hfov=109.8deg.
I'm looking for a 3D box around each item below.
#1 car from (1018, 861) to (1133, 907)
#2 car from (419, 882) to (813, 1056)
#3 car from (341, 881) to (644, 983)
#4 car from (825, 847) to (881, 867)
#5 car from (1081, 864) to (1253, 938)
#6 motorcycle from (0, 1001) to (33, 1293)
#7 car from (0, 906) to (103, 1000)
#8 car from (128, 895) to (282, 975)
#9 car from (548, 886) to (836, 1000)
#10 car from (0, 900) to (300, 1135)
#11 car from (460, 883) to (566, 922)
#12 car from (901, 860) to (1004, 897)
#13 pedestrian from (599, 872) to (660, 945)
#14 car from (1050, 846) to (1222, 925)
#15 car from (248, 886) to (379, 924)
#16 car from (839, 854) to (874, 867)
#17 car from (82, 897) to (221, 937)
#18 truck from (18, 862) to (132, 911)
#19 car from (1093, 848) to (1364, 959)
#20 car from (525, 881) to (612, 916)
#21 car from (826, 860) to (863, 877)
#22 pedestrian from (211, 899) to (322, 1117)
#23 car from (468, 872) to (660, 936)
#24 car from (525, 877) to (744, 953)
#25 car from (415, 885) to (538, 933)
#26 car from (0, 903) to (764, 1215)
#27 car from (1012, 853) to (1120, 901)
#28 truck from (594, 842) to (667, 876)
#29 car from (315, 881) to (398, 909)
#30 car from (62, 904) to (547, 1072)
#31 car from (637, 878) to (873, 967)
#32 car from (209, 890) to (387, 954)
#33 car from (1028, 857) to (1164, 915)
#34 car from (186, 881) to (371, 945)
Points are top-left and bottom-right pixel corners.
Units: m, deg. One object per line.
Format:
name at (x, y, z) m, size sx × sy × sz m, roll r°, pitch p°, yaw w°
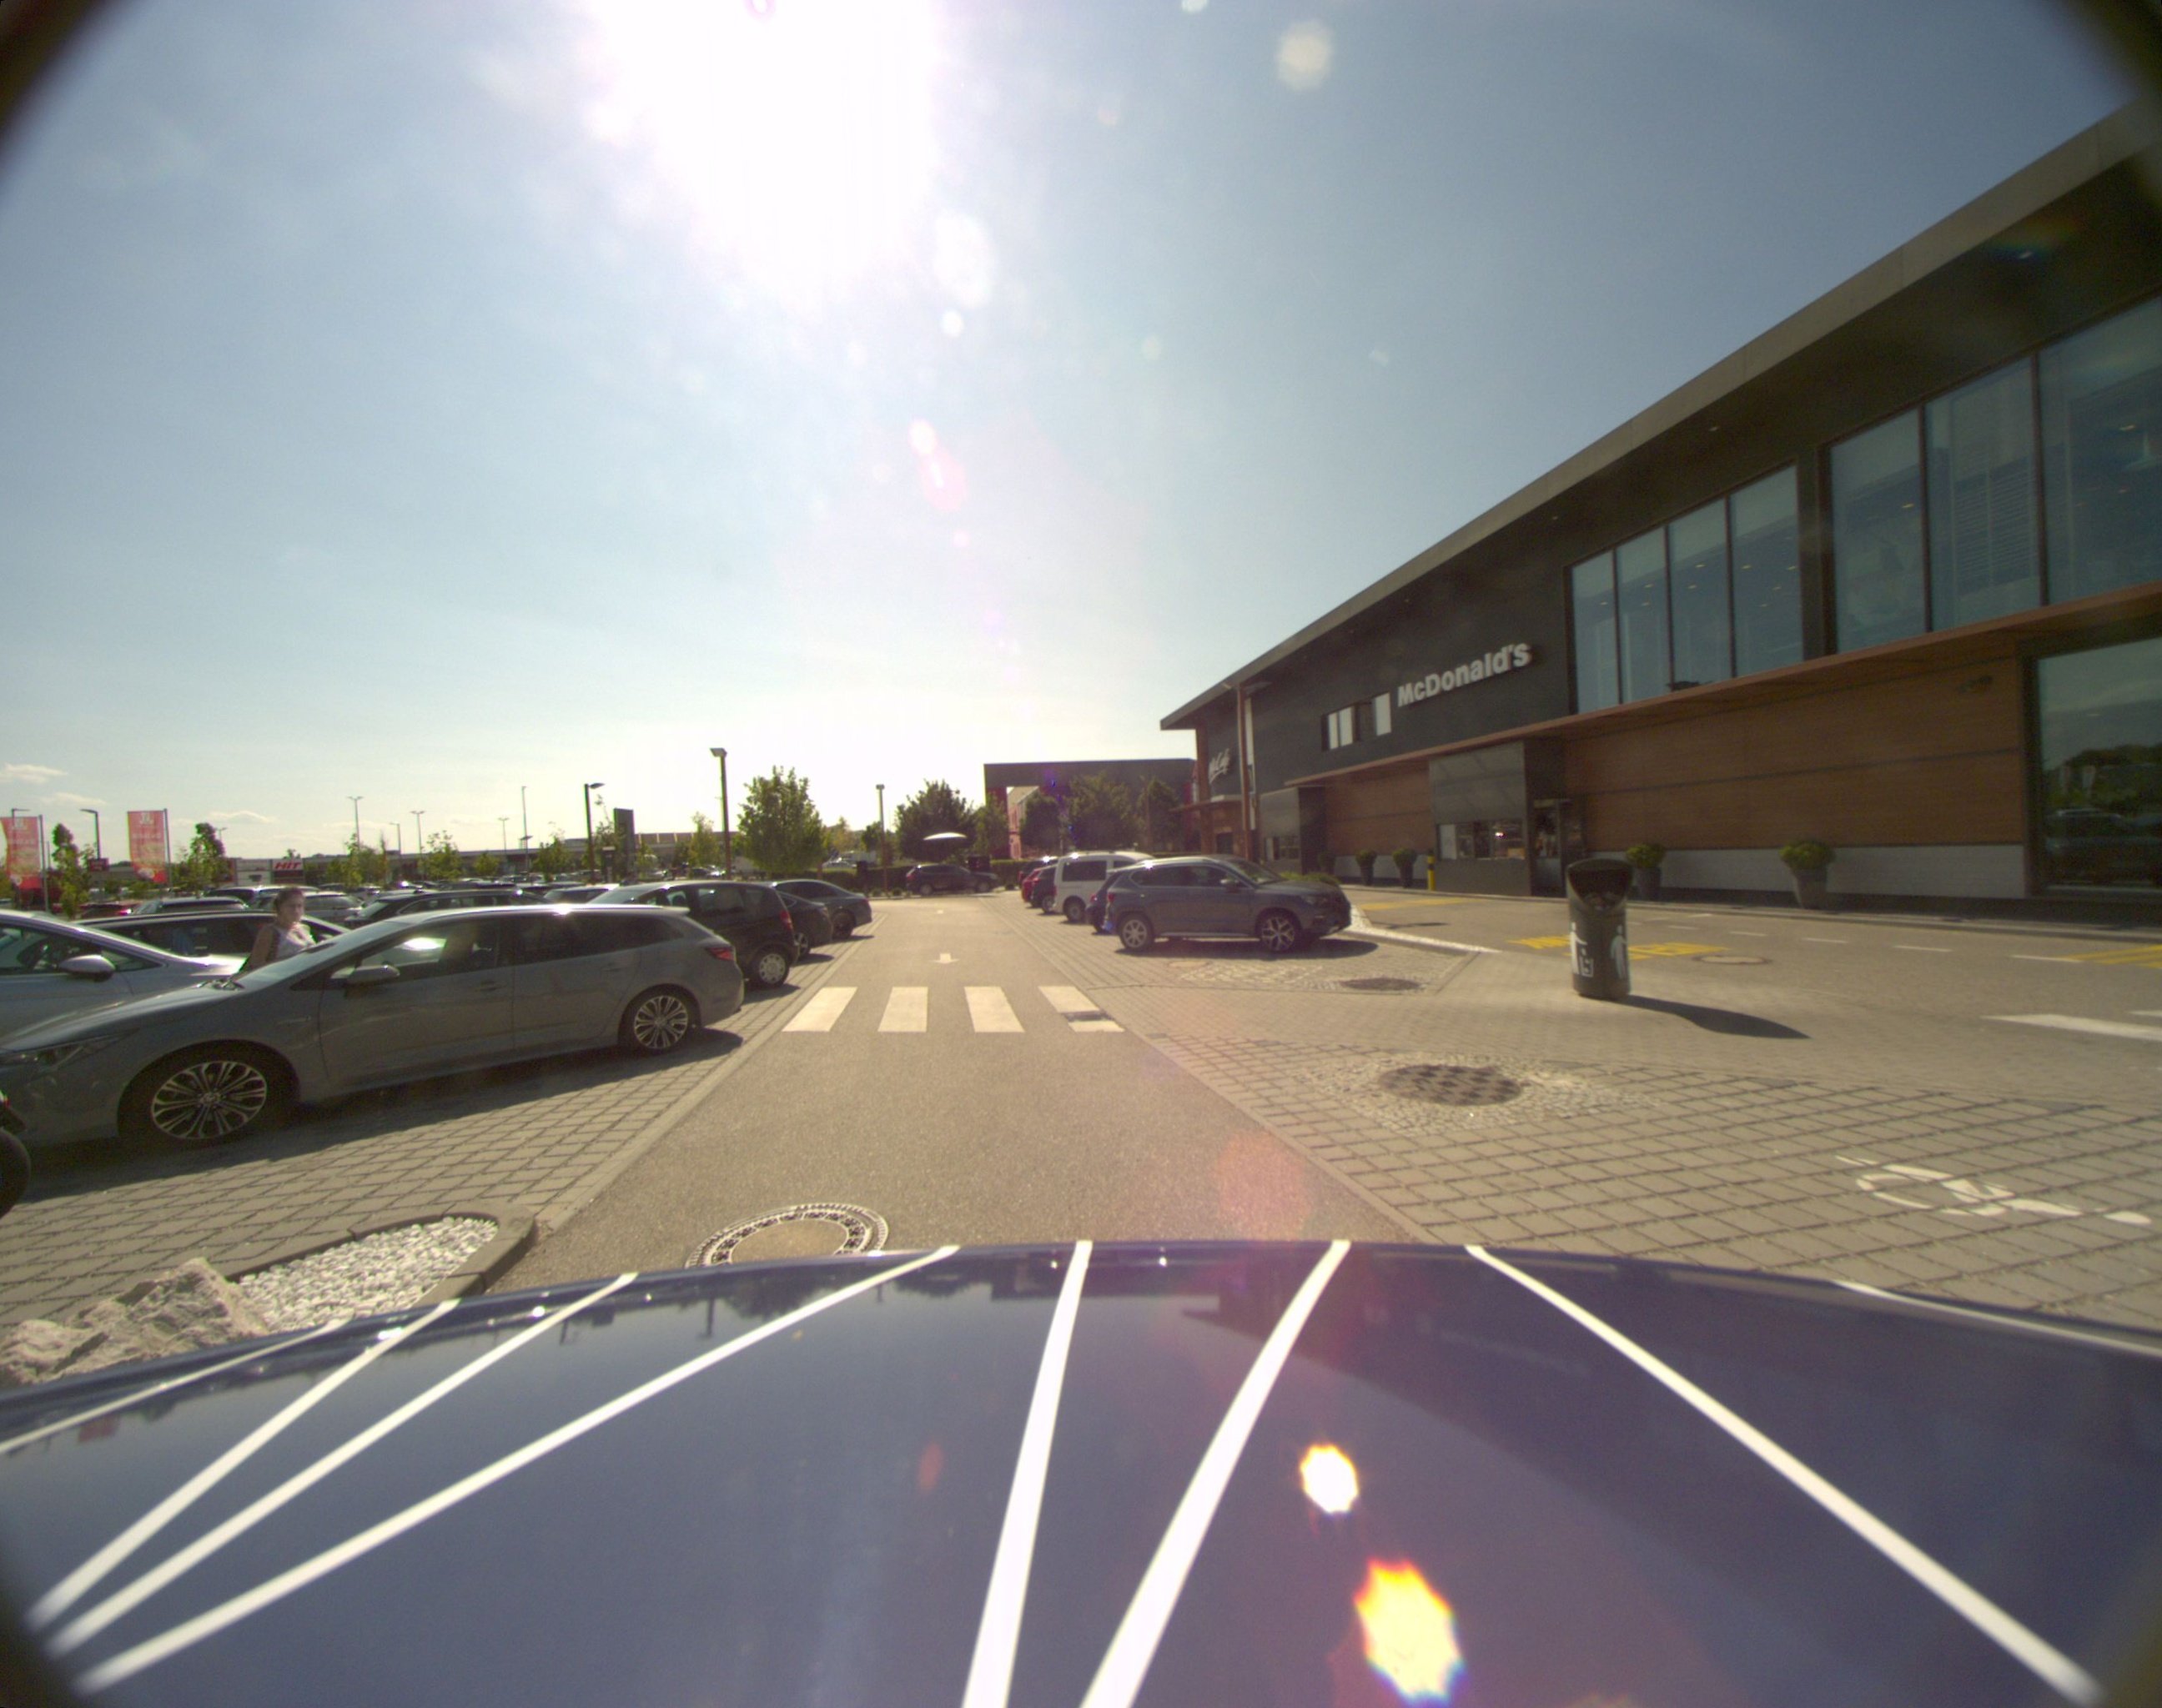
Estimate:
car at (-0.183, 1.095, 27.619) m, size 3.765 × 1.435 × 1.677 m, roll -3°, pitch 0°, yaw 18°
car at (-5.890, 1.293, 10.081) m, size 1.807 × 1.584 × 4.008 m, roll -2°, pitch 0°, yaw 37°
car at (-11.716, 1.442, 15.447) m, size 1.978 × 1.502 × 4.425 m, roll -2°, pitch 0°, yaw 35°
car at (-28.830, 0.355, 96.396) m, size 6.573 × 2.231 × 2.298 m, roll -2°, pitch 0°, yaw -11°
car at (1.909, 1.039, 16.972) m, size 3.407 × 1.473 × 1.571 m, roll -3°, pitch 0°, yaw 28°
motorcycle at (-5.500, 1.301, 2.587) m, size 0.819 × 1.224 × 2.145 m, roll -3°, pitch -1°, yaw 28°
car at (-19.011, 1.715, 13.522) m, size 3.989 × 1.395 × 1.824 m, roll -2°, pitch 0°, yaw 36°
car at (-19.806, 1.724, 17.145) m, size 3.989 × 1.480 × 1.824 m, roll -2°, pitch 0°, yaw 35°
car at (-6.650, 1.417, 13.414) m, size 1.824 × 1.440 × 4.083 m, roll -2°, pitch 0°, yaw 36°
car at (-9.006, 1.303, 5.717) m, size 1.743 × 1.630 × 4.075 m, roll -2°, pitch 0°, yaw 34°
car at (-23.127, 1.981, 30.942) m, size 4.076 × 1.414 × 1.800 m, roll -2°, pitch 0°, yaw 27°
car at (-6.610, 1.212, 39.117) m, size 5.066 × 1.620 × 1.922 m, roll -2°, pitch 0°, yaw -12°
pedestrian at (-12.350, 1.466, 20.826) m, size 1.028 × 1.905 × 0.902 m, roll -2°, pitch 1°, yaw 2°
car at (1.449, 0.825, 20.292) m, size 4.134 × 1.910 × 1.761 m, roll -2°, pitch 1°, yaw 29°
car at (-34.758, 2.259, 34.592) m, size 1.888 × 1.390 × 4.153 m, roll -2°, pitch 0°, yaw -5°
car at (-27.601, 0.782, 93.616) m, size 3.909 × 1.334 × 1.664 m, roll -2°, pitch 0°, yaw -11°
car at (-41.978, 2.815, 34.450) m, size 1.686 × 1.445 × 3.754 m, roll -2°, pitch 0°, yaw -3°
truck at (-86.373, 2.826, 65.259) m, size 9.111 × 3.844 × 3.214 m, roll -2°, pitch 0°, yaw 20°
car at (2.534, 0.891, 13.417) m, size 4.217 × 1.594 × 1.793 m, roll -5°, pitch 1°, yaw 33°
car at (-23.458, 2.044, 34.784) m, size 3.765 × 1.414 × 1.917 m, roll -2°, pitch 0°, yaw 33°
car at (-27.465, 1.651, 88.396) m, size 4.002 × 1.718 × 1.892 m, roll -2°, pitch 0°, yaw -15°
pedestrian at (-6.955, 1.260, 6.501) m, size 0.609 × 1.703 × 0.564 m, roll -2°, pitch 1°, yaw 42°
car at (-13.891, 1.288, 20.604) m, size 1.702 × 1.418 × 3.911 m, roll -2°, pitch 0°, yaw 37°
car at (-11.423, 1.489, 19.762) m, size 1.978 × 1.502 × 4.425 m, roll -2°, pitch 0°, yaw 35°
car at (-22.133, 1.995, 27.810) m, size 4.045 × 1.547 × 1.809 m, roll -2°, pitch 0°, yaw 24°
car at (-5.345, 1.260, 6.349) m, size 1.831 × 1.438 × 4.672 m, roll -2°, pitch -1°, yaw 36°
car at (-0.589, 0.920, 30.970) m, size 4.033 × 1.696 × 1.676 m, roll -3°, pitch 1°, yaw 11°
truck at (-47.383, 0.554, 79.893) m, size 7.548 × 3.332 × 2.426 m, roll -2°, pitch 1°, yaw 23°
car at (-58.270, 3.288, 61.159) m, size 5.015 × 2.002 × 2.001 m, roll -2°, pitch 1°, yaw 7°
car at (-9.636, 1.484, 9.801) m, size 1.789 × 1.400 × 4.090 m, roll -2°, pitch 0°, yaw 34°
car at (-7.209, 1.427, 17.289) m, size 1.882 × 1.502 × 4.551 m, roll -2°, pitch 1°, yaw 35°
car at (-21.325, 1.839, 20.701) m, size 4.343 × 1.502 × 1.781 m, roll -2°, pitch 1°, yaw 21°
car at (0.488, 1.008, 23.932) m, size 3.835 × 1.622 × 1.761 m, roll -2°, pitch 0°, yaw 23°
car at (-27.129, 1.923, 25.957) m, size 2.072 × 1.739 × 4.364 m, roll -2°, pitch 0°, yaw -9°
